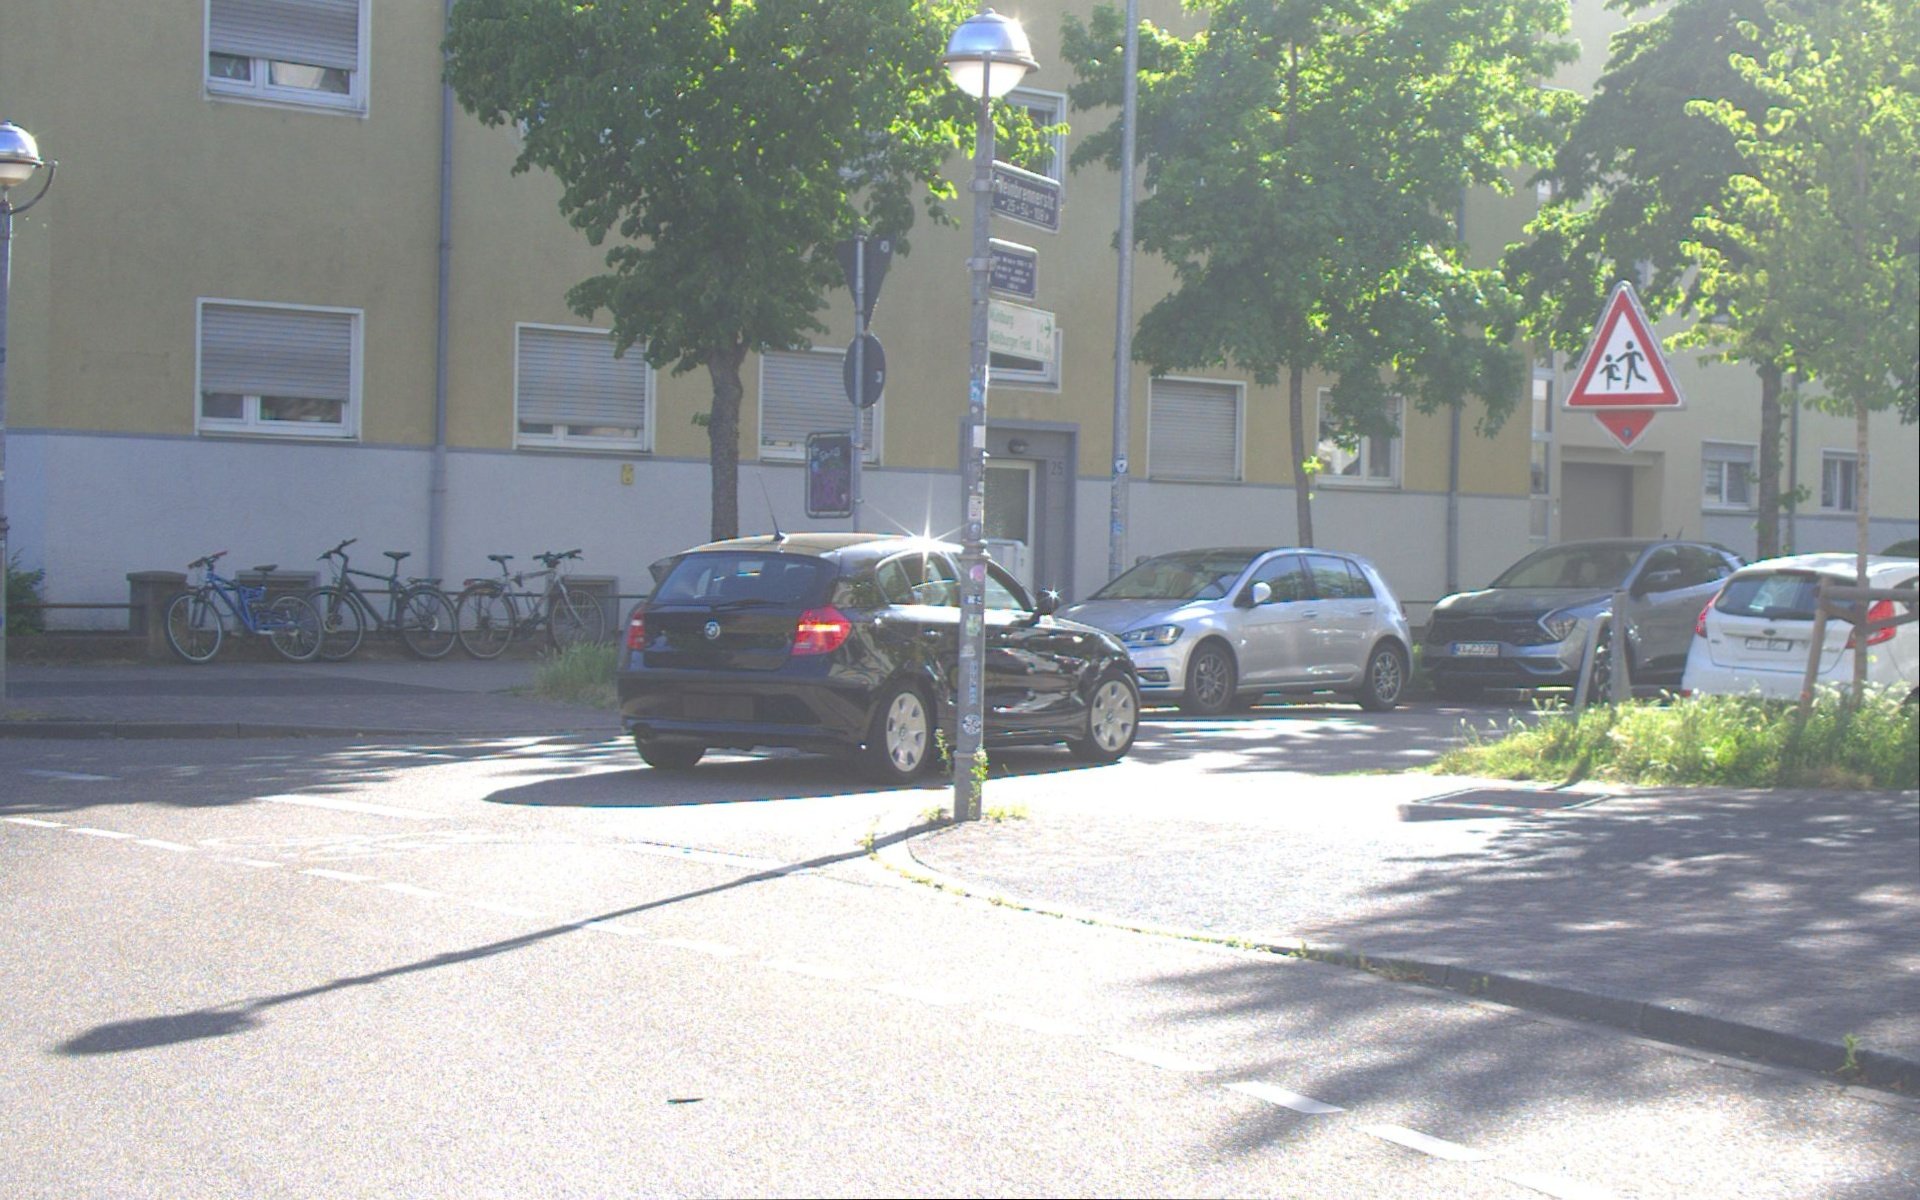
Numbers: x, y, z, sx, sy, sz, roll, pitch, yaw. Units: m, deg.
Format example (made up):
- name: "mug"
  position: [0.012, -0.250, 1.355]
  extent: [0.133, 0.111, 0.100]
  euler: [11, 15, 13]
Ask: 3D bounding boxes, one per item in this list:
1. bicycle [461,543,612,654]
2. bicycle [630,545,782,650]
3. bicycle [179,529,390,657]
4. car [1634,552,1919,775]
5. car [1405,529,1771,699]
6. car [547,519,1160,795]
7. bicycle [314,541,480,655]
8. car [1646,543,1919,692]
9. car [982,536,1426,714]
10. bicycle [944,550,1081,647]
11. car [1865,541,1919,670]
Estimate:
- name: "bicycle"
  position: [-4.028, -0.016, 32.762]
  extent: [0.500, 1.023, 1.446]
  euler: [2, 1, 42]
- name: "bicycle"
  position: [-2.534, -0.024, 34.396]
  extent: [1.445, 1.023, 0.500]
  euler: [0, 1, -35]
- name: "bicycle"
  position: [-6.013, -0.059, 30.581]
  extent: [1.793, 1.104, 0.500]
  euler: [1, 1, -15]
- name: "car"
  position: [6.645, 0.411, 24.331]
  extent: [1.799, 1.408, 3.990]
  euler: [2, 1, 43]
- name: "car"
  position: [6.263, 0.128, 34.022]
  extent: [1.798, 1.570, 3.990]
  euler: [1, 0, 40]
- name: "car"
  position: [-0.527, 0.273, 20.644]
  extent: [1.868, 1.414, 3.994]
  euler: [3, 2, 29]
- name: "bicycle"
  position: [-5.182, -0.018, 31.651]
  extent: [1.444, 1.023, 0.500]
  euler: [1, 1, -15]
- name: "car"
  position: [9.215, 0.172, 37.227]
  extent: [1.798, 1.505, 3.991]
  euler: [1, 1, 40]
- name: "car"
  position: [2.166, 0.196, 29.640]
  extent: [1.802, 1.406, 3.991]
  euler: [2, 1, 40]
- name: "bicycle"
  position: [0.567, -0.012, 37.204]
  extent: [1.445, 1.023, 0.500]
  euler: [0, 1, -35]
- name: "car"
  position: [12.624, 0.073, 41.400]
  extent: [1.798, 1.505, 3.991]
  euler: [1, 1, 40]
